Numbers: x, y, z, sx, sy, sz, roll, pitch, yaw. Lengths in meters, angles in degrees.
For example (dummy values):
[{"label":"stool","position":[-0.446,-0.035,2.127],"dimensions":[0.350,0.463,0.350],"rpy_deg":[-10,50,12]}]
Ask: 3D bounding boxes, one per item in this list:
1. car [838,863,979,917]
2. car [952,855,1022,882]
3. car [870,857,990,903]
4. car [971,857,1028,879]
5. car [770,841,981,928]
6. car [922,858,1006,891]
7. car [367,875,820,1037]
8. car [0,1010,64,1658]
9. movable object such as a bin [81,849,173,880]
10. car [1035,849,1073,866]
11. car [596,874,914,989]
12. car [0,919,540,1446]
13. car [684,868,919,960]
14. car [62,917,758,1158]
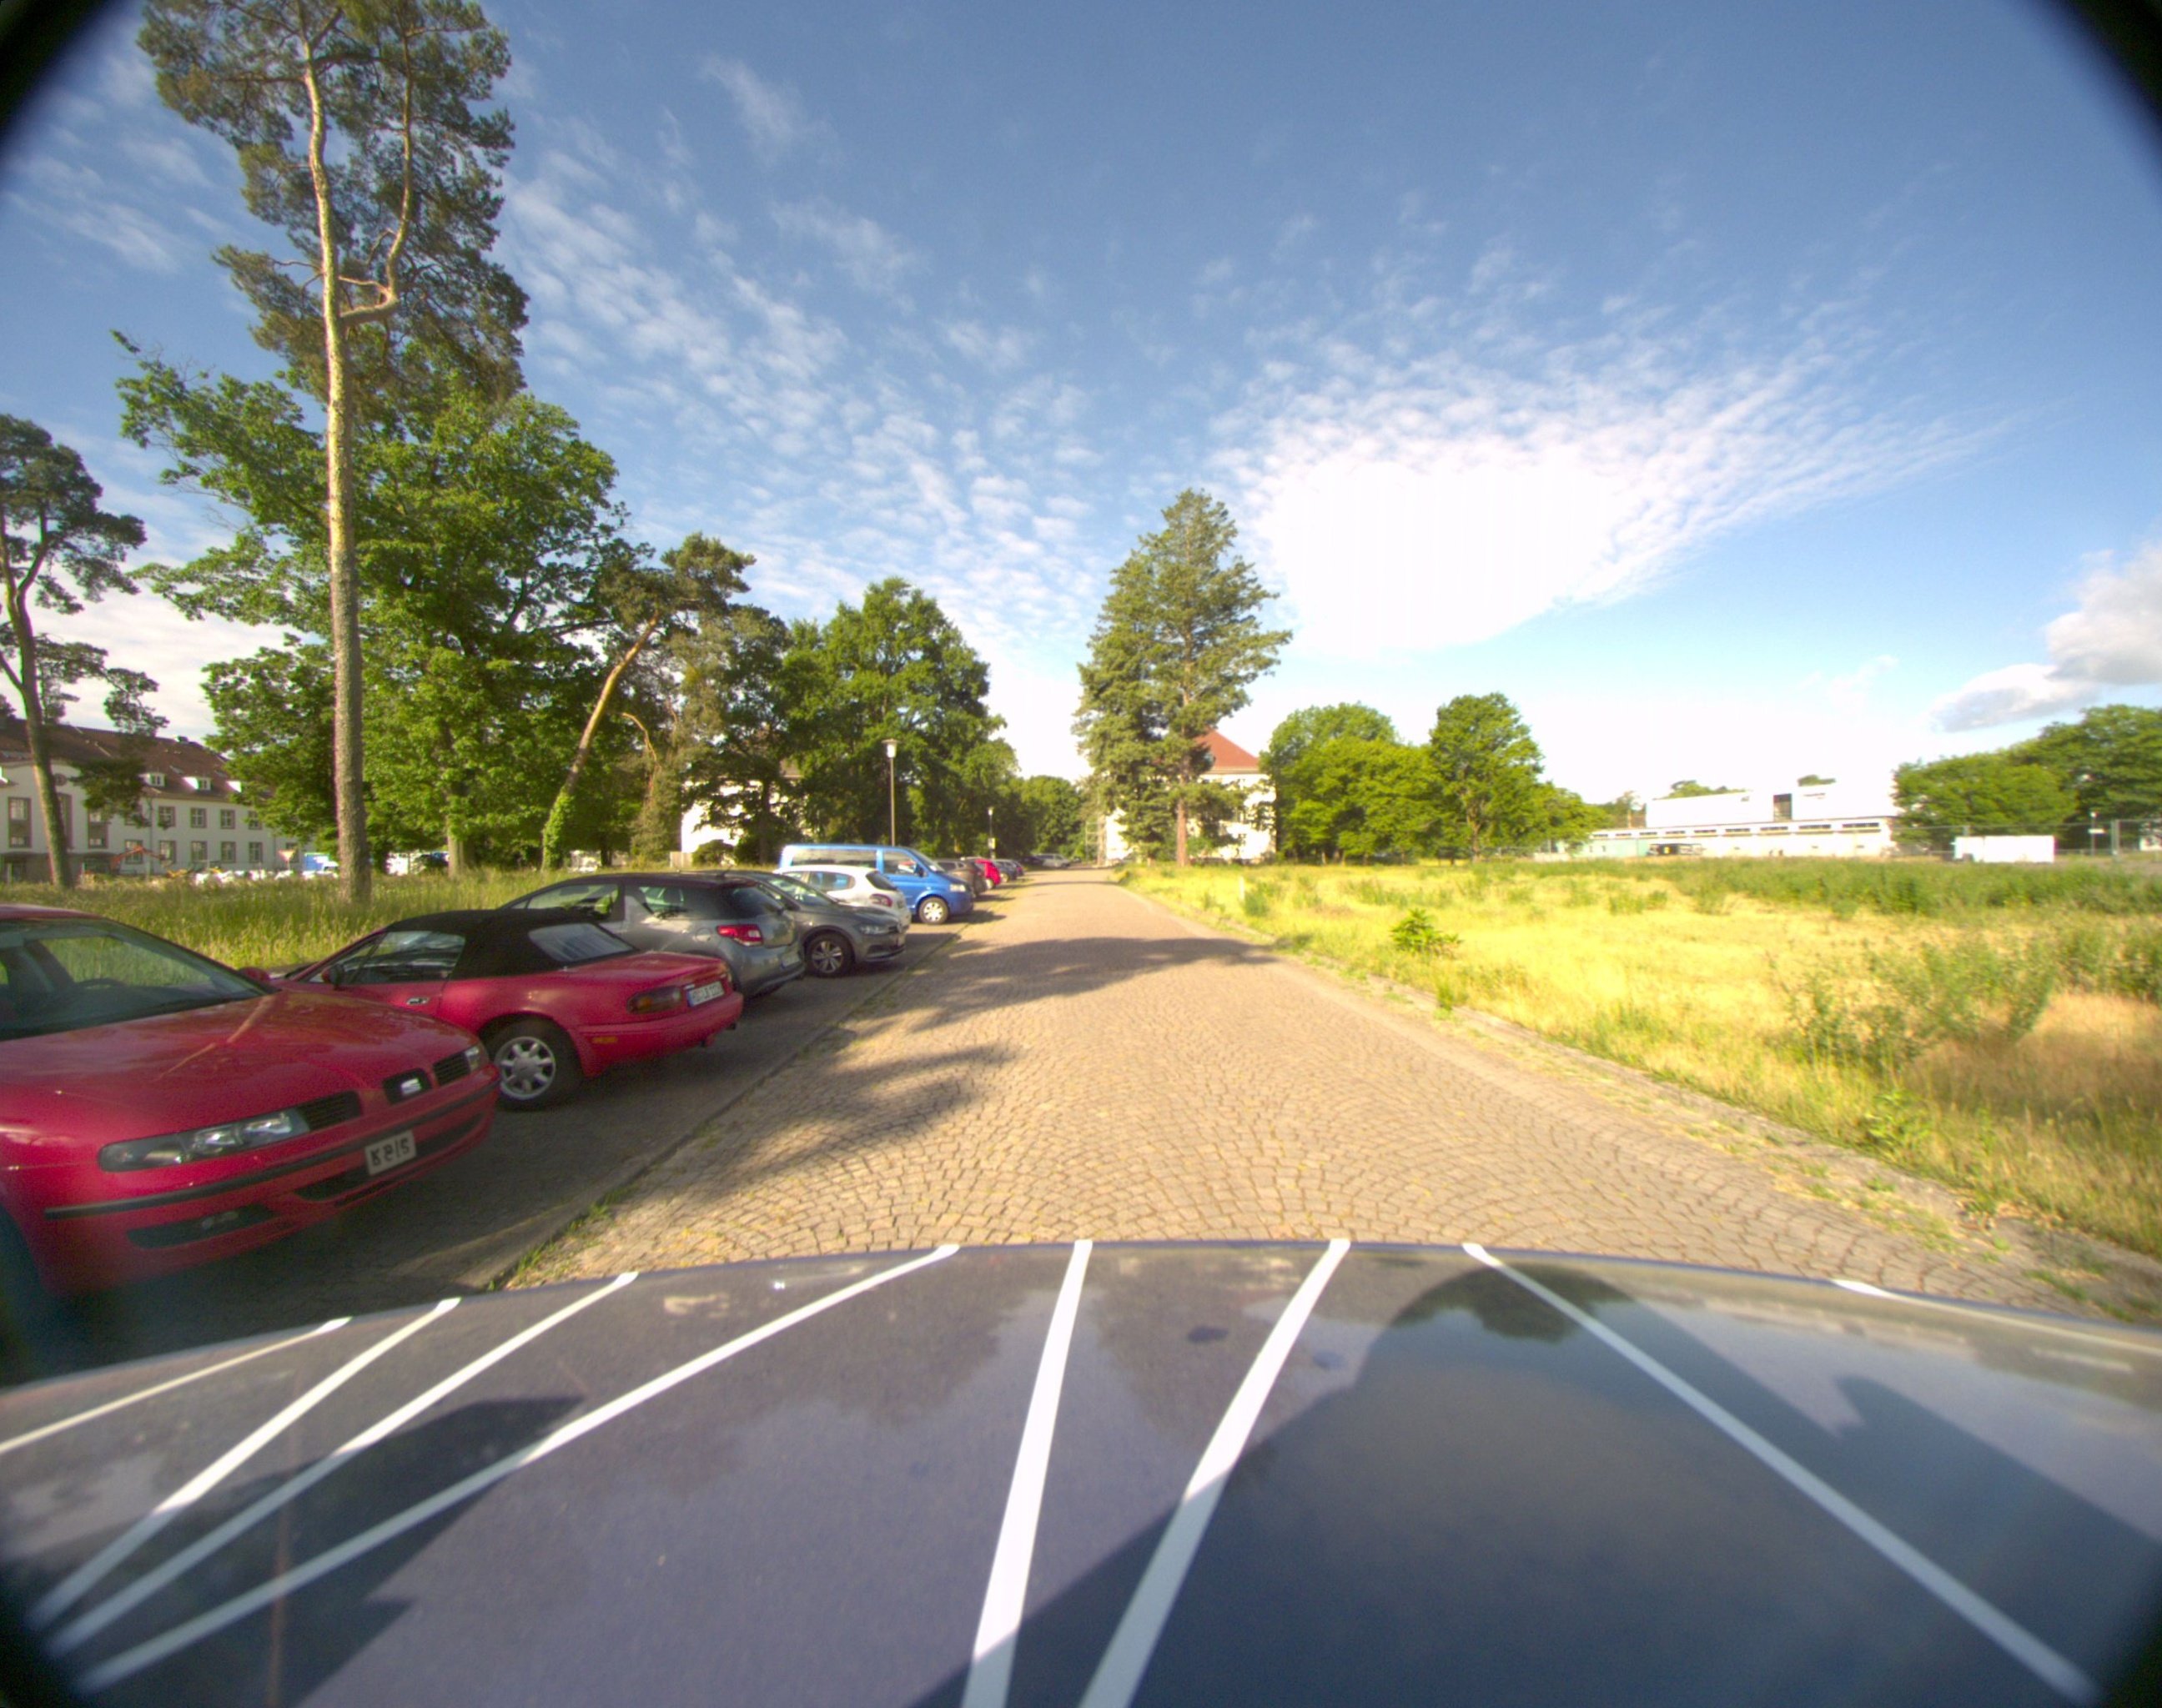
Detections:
[{"label":"car","position":[-4.856,1.009,21.803],"dimensions":[3.730,1.458,1.609],"rpy_deg":[0,0,-4]},{"label":"car","position":[-5.945,0.901,48.545],"dimensions":[4.274,1.589,1.651],"rpy_deg":[-1,1,-2]},{"label":"car","position":[-5.493,0.922,28.074],"dimensions":[4.118,1.601,1.785],"rpy_deg":[-1,0,-3]},{"label":"car","position":[-5.669,0.985,53.353],"dimensions":[3.810,1.458,1.747],"rpy_deg":[-1,1,-1]},{"label":"car","position":[-5.035,0.723,19.166],"dimensions":[4.767,2.002,2.000],"rpy_deg":[1,0,-2]},{"label":"car","position":[-5.848,1.014,38.257],"dimensions":[3.998,1.487,1.540],"rpy_deg":[-1,1,-2]},{"label":"car","position":[-4.890,1.000,8.029],"dimensions":[3.673,1.446,1.666],"rpy_deg":[1,0,-2]},{"label":"car","position":[-4.495,1.034,0.732],"dimensions":[4.411,1.380,1.788],"rpy_deg":[0,0,-3]},{"label":"movable object such as a bin","position":[-91.962,0.981,73.360],"dimensions":[2.178,2.884,5.074],"rpy_deg":[-1,0,5]},{"label":"car","position":[-3.680,0.430,102.287],"dimensions":[4.995,2.123,2.164],"rpy_deg":[-1,0,-4]},{"label":"car","position":[-4.478,1.048,10.882],"dimensions":[3.790,1.442,1.757],"rpy_deg":[0,0,0]},{"label":"car","position":[-4.782,1.063,3.041],"dimensions":[3.990,1.440,1.655],"rpy_deg":[0,0,-2]},{"label":"car","position":[-4.962,1.044,13.851],"dimensions":[3.654,1.483,1.634],"rpy_deg":[-1,0,-1]},{"label":"car","position":[-4.355,1.169,5.355],"dimensions":[3.470,1.235,1.536],"rpy_deg":[-1,0,-1]}]
